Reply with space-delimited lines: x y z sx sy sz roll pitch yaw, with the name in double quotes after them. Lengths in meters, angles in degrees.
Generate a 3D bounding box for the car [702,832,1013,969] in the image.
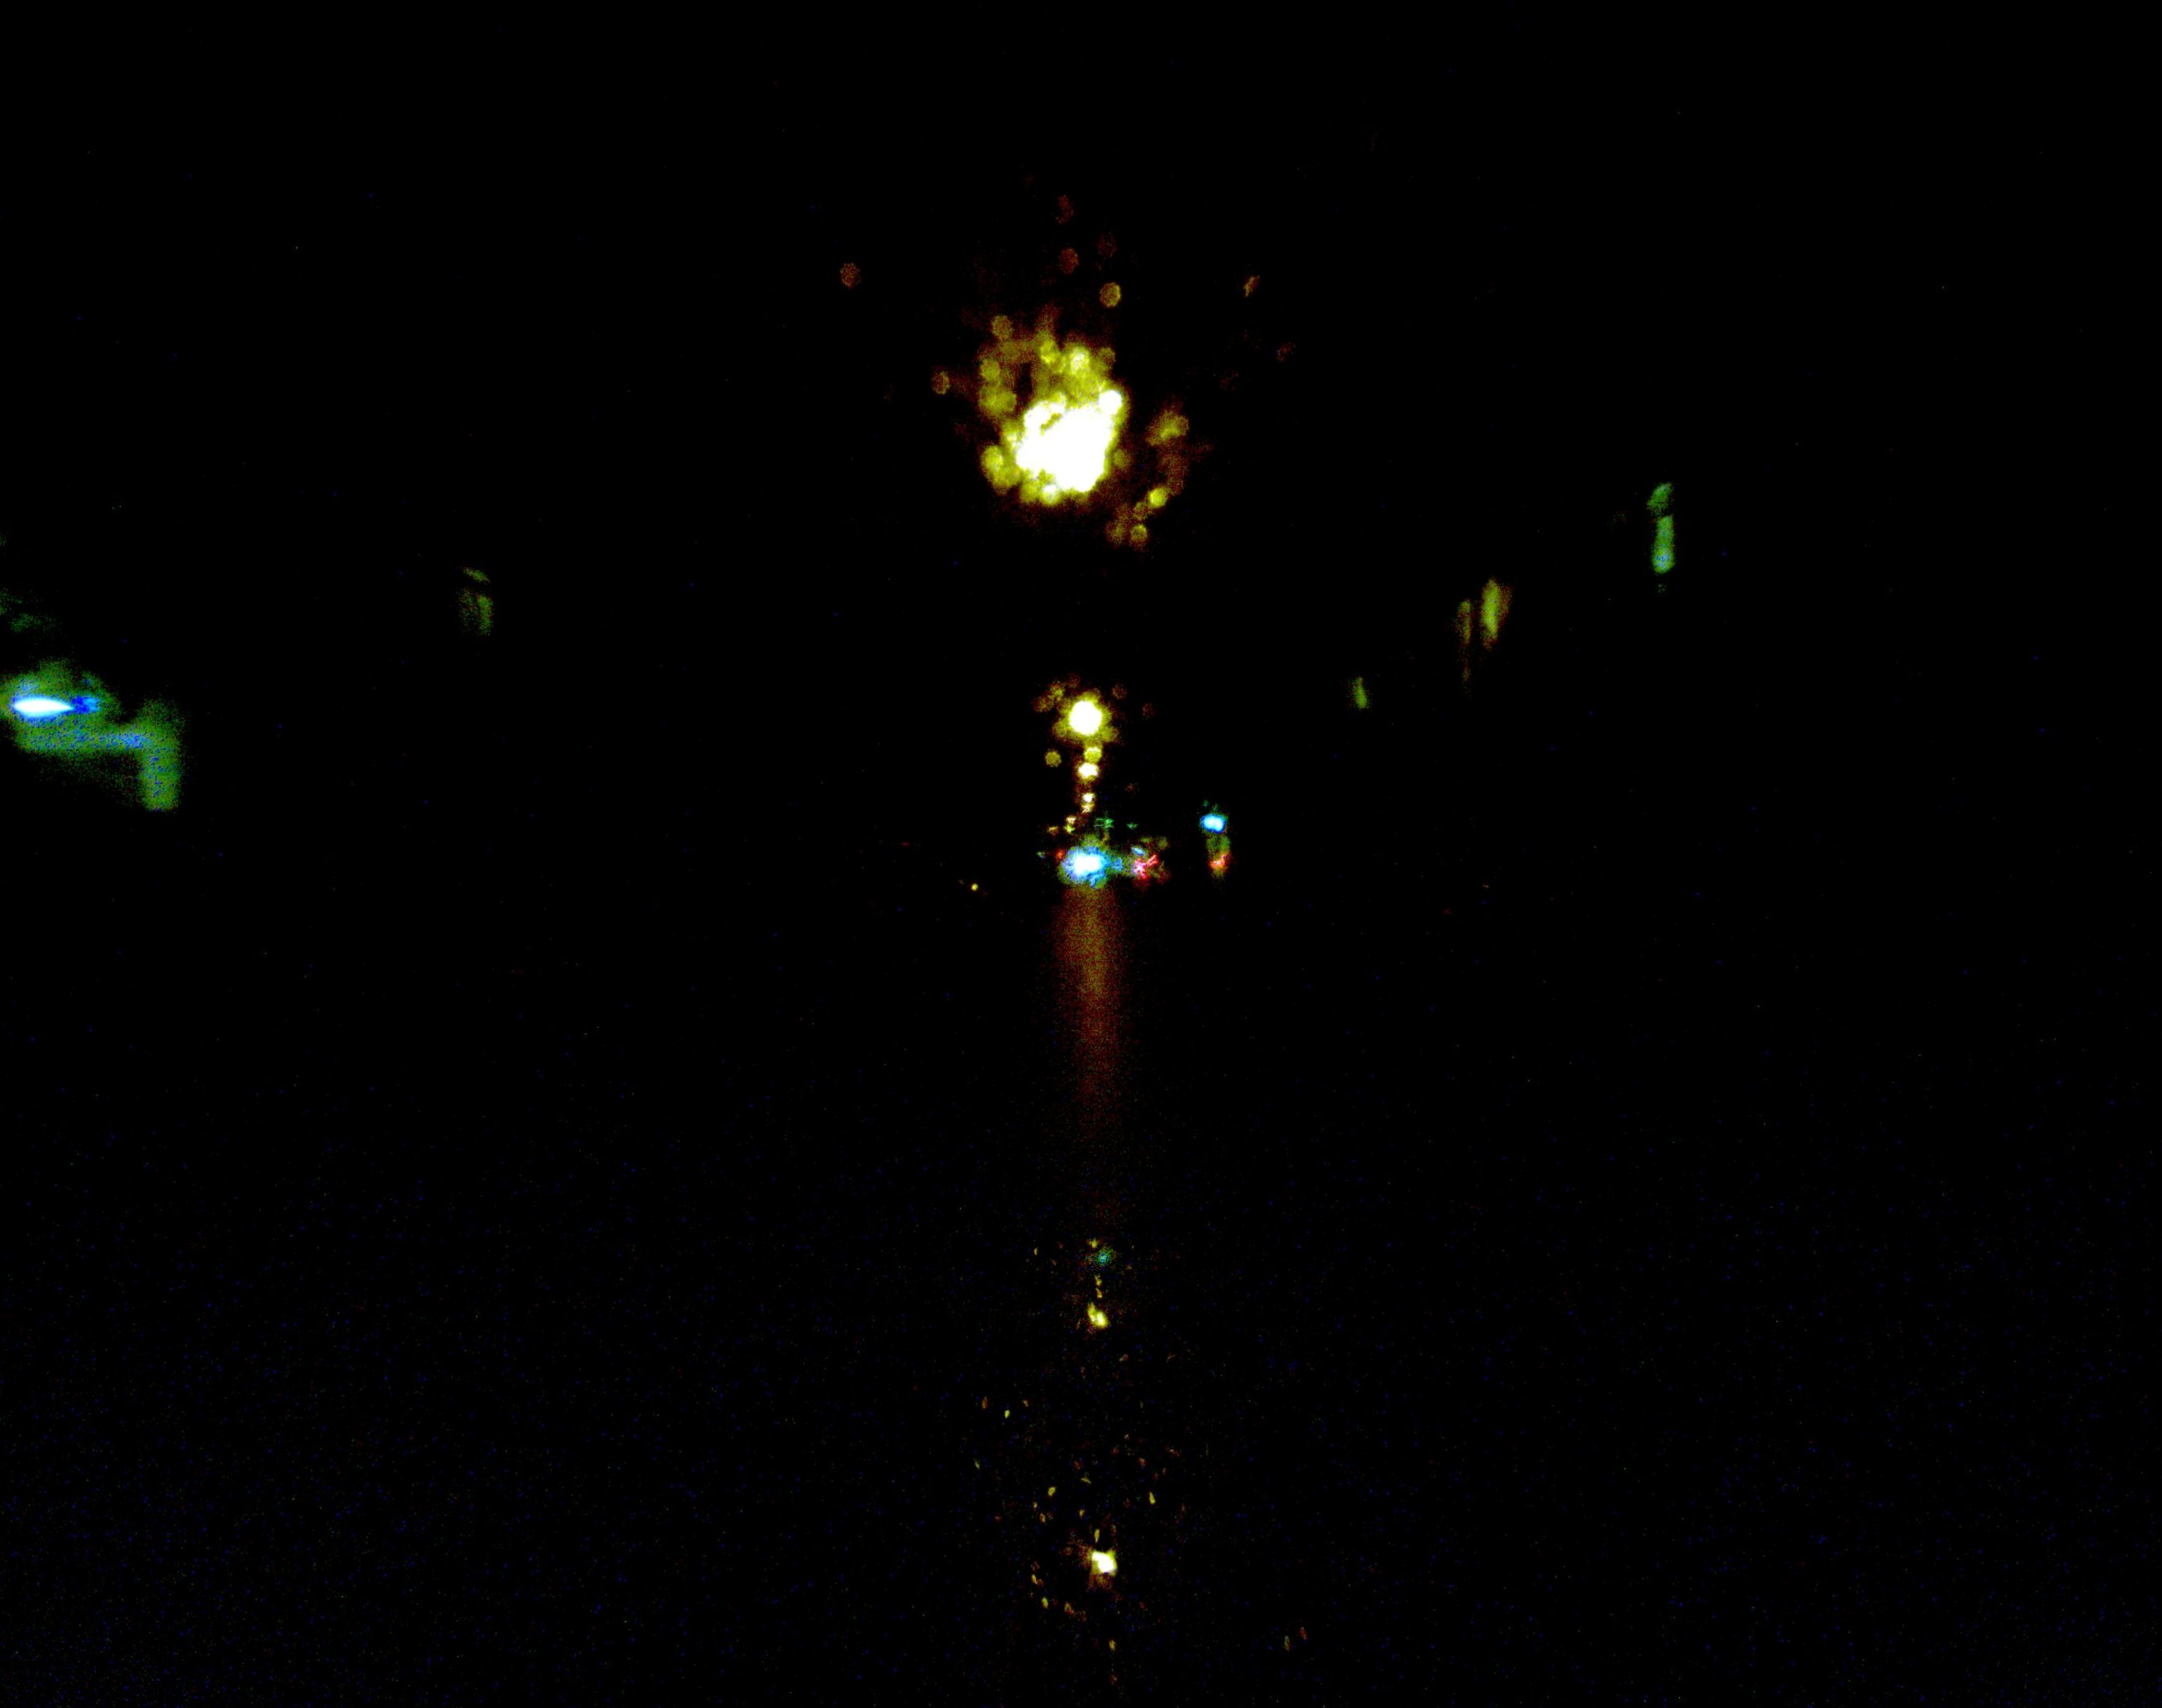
-3.738 0.727 12.903 4.720 1.968 1.975 2 0 -28 "car"

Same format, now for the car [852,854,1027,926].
-3.468 0.858 18.597 3.939 1.610 1.707 2 0 -21 "car"

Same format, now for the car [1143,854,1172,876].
5.813 0.820 58.037 1.851 1.571 3.735 -2 0 1 "car"

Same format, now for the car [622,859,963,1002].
-3.774 0.897 10.132 3.942 1.541 1.739 2 0 -33 "car"

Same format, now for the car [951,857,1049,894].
-3.558 0.948 33.520 3.939 1.553 1.707 2 0 -22 "car"

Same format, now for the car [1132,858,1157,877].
5.402 1.144 65.266 1.851 1.571 3.735 -2 0 1 "car"

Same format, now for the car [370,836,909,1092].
-3.847 0.807 7.150 3.942 1.782 1.738 2 0 -36 "car"

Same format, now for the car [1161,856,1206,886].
5.394 0.881 40.311 1.851 1.470 3.735 -2 0 1 "car"

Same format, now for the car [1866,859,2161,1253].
4.982 0.764 1.870 1.721 1.470 4.159 -1 0 -2 "car"

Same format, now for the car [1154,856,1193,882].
5.558 0.873 46.051 1.851 1.470 3.735 -2 0 1 "car"

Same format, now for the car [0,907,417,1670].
-3.984 0.936 1.333 4.065 1.444 1.674 0 0 -34 "car"

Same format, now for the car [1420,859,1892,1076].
4.861 0.816 7.216 1.720 1.470 3.786 -2 0 3 "car"

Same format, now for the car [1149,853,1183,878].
5.772 0.783 51.940 1.851 1.571 3.735 -2 0 1 "car"

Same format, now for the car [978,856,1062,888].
-3.152 0.920 39.035 3.939 1.553 1.707 2 0 -22 "car"

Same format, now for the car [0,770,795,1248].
-3.966 0.646 4.417 3.942 1.931 1.738 2 0 -36 "car"

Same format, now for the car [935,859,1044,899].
-3.636 0.994 30.085 3.939 1.455 1.707 2 0 -22 "car"

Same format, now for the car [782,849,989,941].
-4.055 0.826 15.746 3.939 1.732 1.707 2 0 -21 "car"
